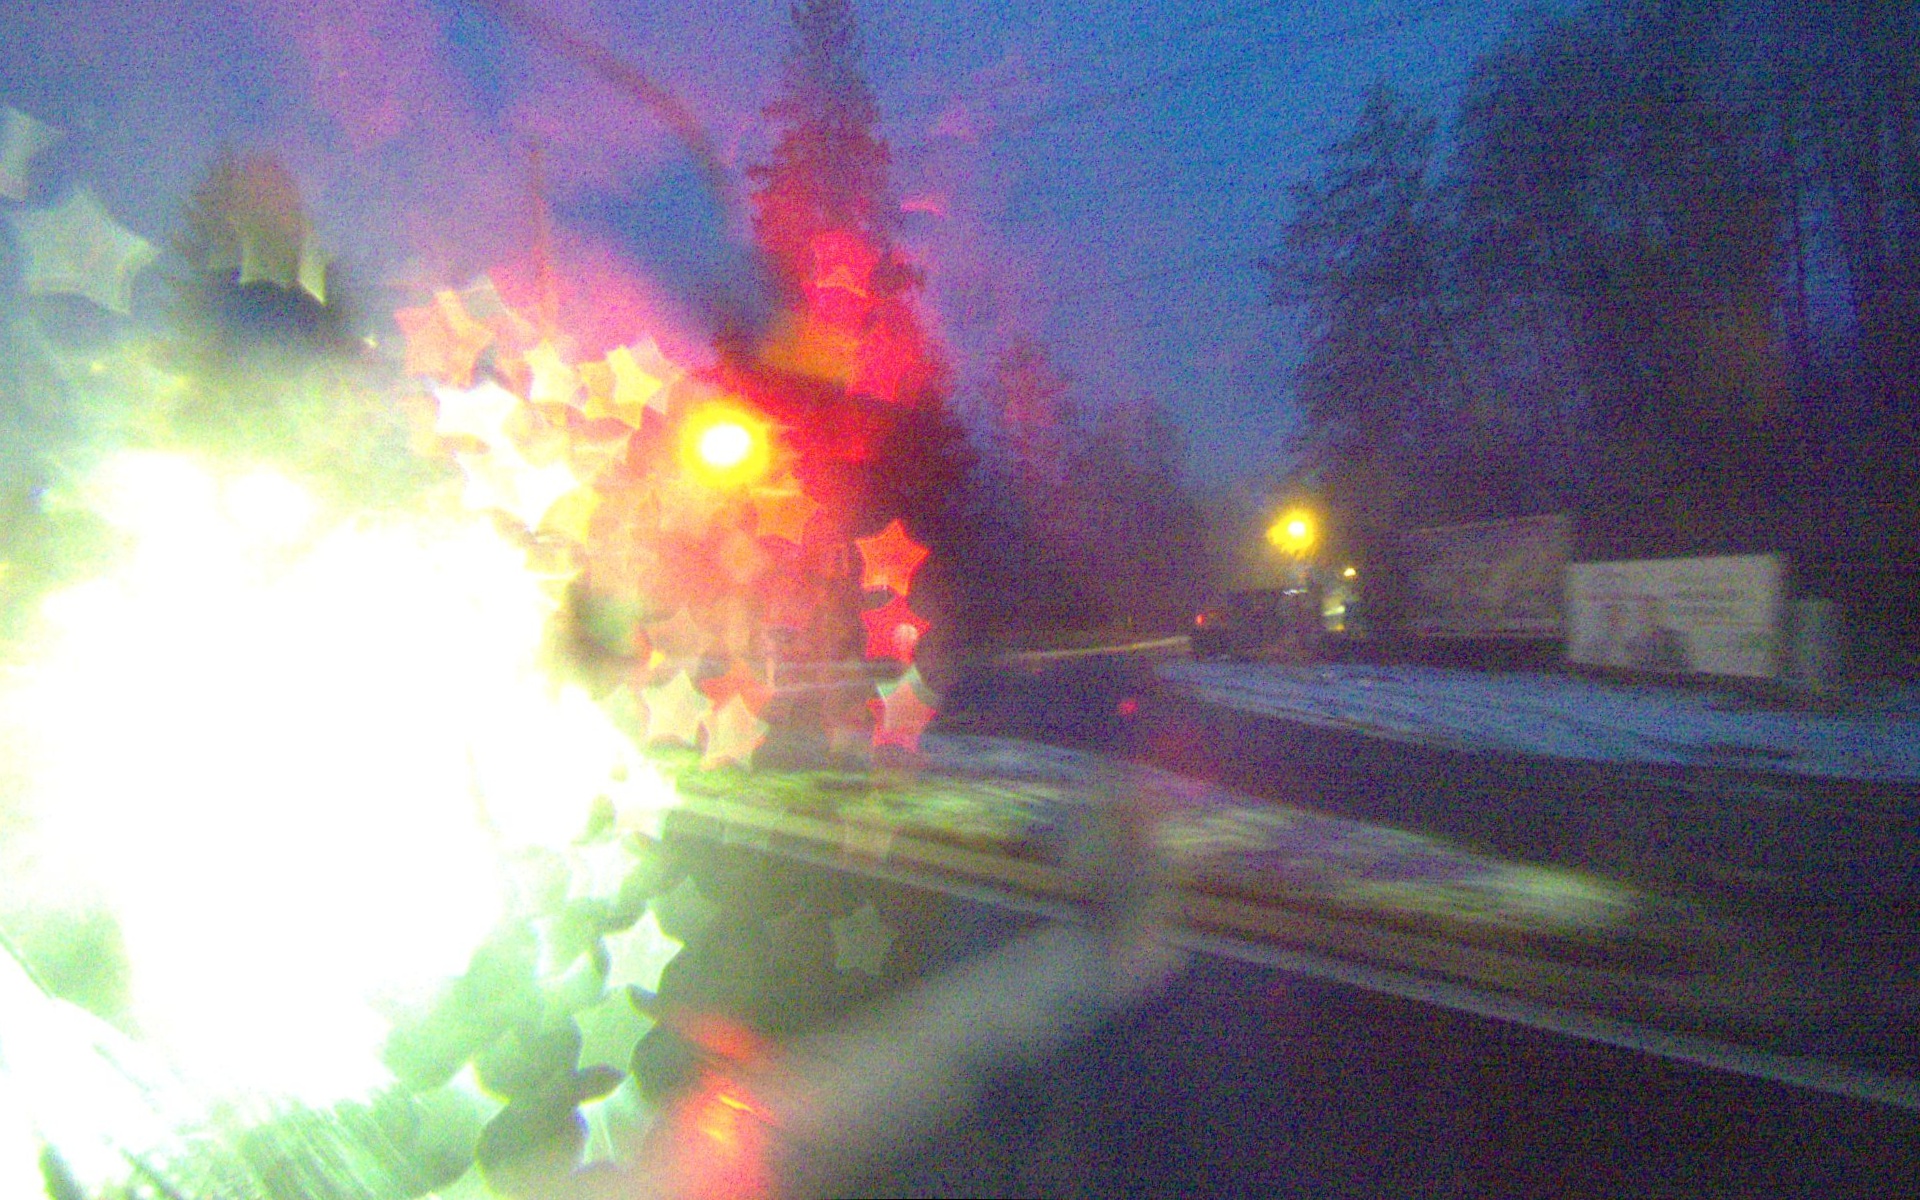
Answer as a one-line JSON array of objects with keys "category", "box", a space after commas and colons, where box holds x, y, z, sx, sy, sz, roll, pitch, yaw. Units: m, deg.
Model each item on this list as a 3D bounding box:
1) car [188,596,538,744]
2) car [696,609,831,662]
[{"category": "car", "box": [-7.971, 0.877, 14.081, 1.873, 1.701, 4.327, -2, -1, 9]}, {"category": "car", "box": [-6.550, 1.143, 33.562, 4.475, 1.598, 1.915, 0, -1, 37]}]
